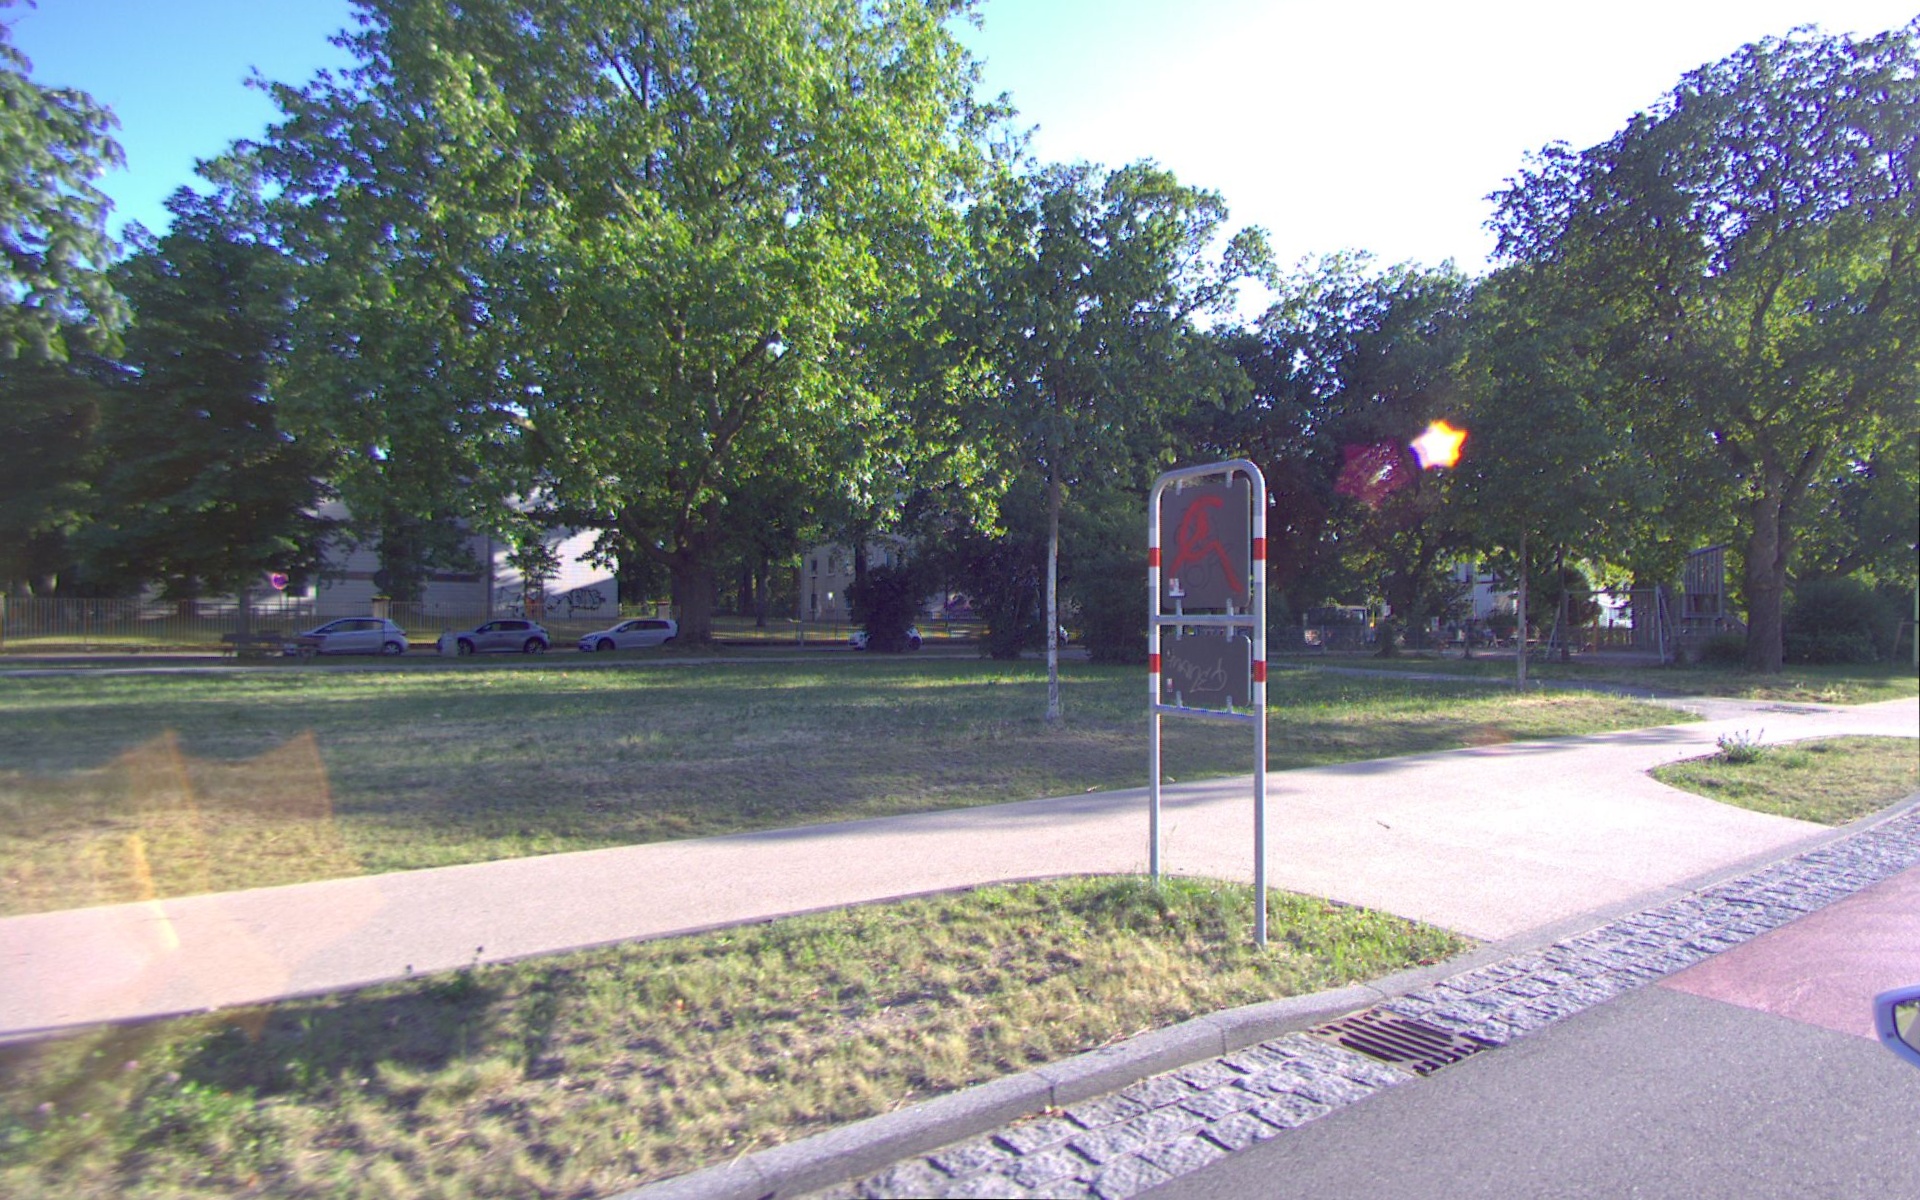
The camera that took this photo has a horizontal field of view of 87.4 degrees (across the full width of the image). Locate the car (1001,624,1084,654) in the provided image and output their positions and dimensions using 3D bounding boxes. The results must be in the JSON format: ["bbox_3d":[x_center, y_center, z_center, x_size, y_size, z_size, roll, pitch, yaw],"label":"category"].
[{"bbox_3d":[4.392,2.075,53.315,4.070,1.528,1.983,1,-2,-32],"label":"car"}]

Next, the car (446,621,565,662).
[{"bbox_3d":[-17.540,1.584,38.772,3.956,1.528,1.983,1,-2,-32],"label":"car"}]

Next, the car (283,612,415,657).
[{"bbox_3d":[-21.868,1.225,36.067,3.956,1.528,1.983,1,-2,-32],"label":"car"}]

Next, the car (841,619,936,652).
[{"bbox_3d":[-3.388,1.682,47.799,4.070,1.528,1.983,1,-2,-32],"label":"car"}]

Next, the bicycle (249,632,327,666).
[{"bbox_3d":[-24.316,1.770,36.385,2.311,1.191,0.652,1,-2,-36],"label":"bicycle"}]

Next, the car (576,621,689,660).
[{"bbox_3d":[-13.471,1.671,41.354,4.070,1.528,1.983,1,-2,-32],"label":"car"}]

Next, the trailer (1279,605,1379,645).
[{"bbox_3d":[24.261,1.672,65.982,6.972,2.521,2.446,1,-2,-33],"label":"trailer"}]
